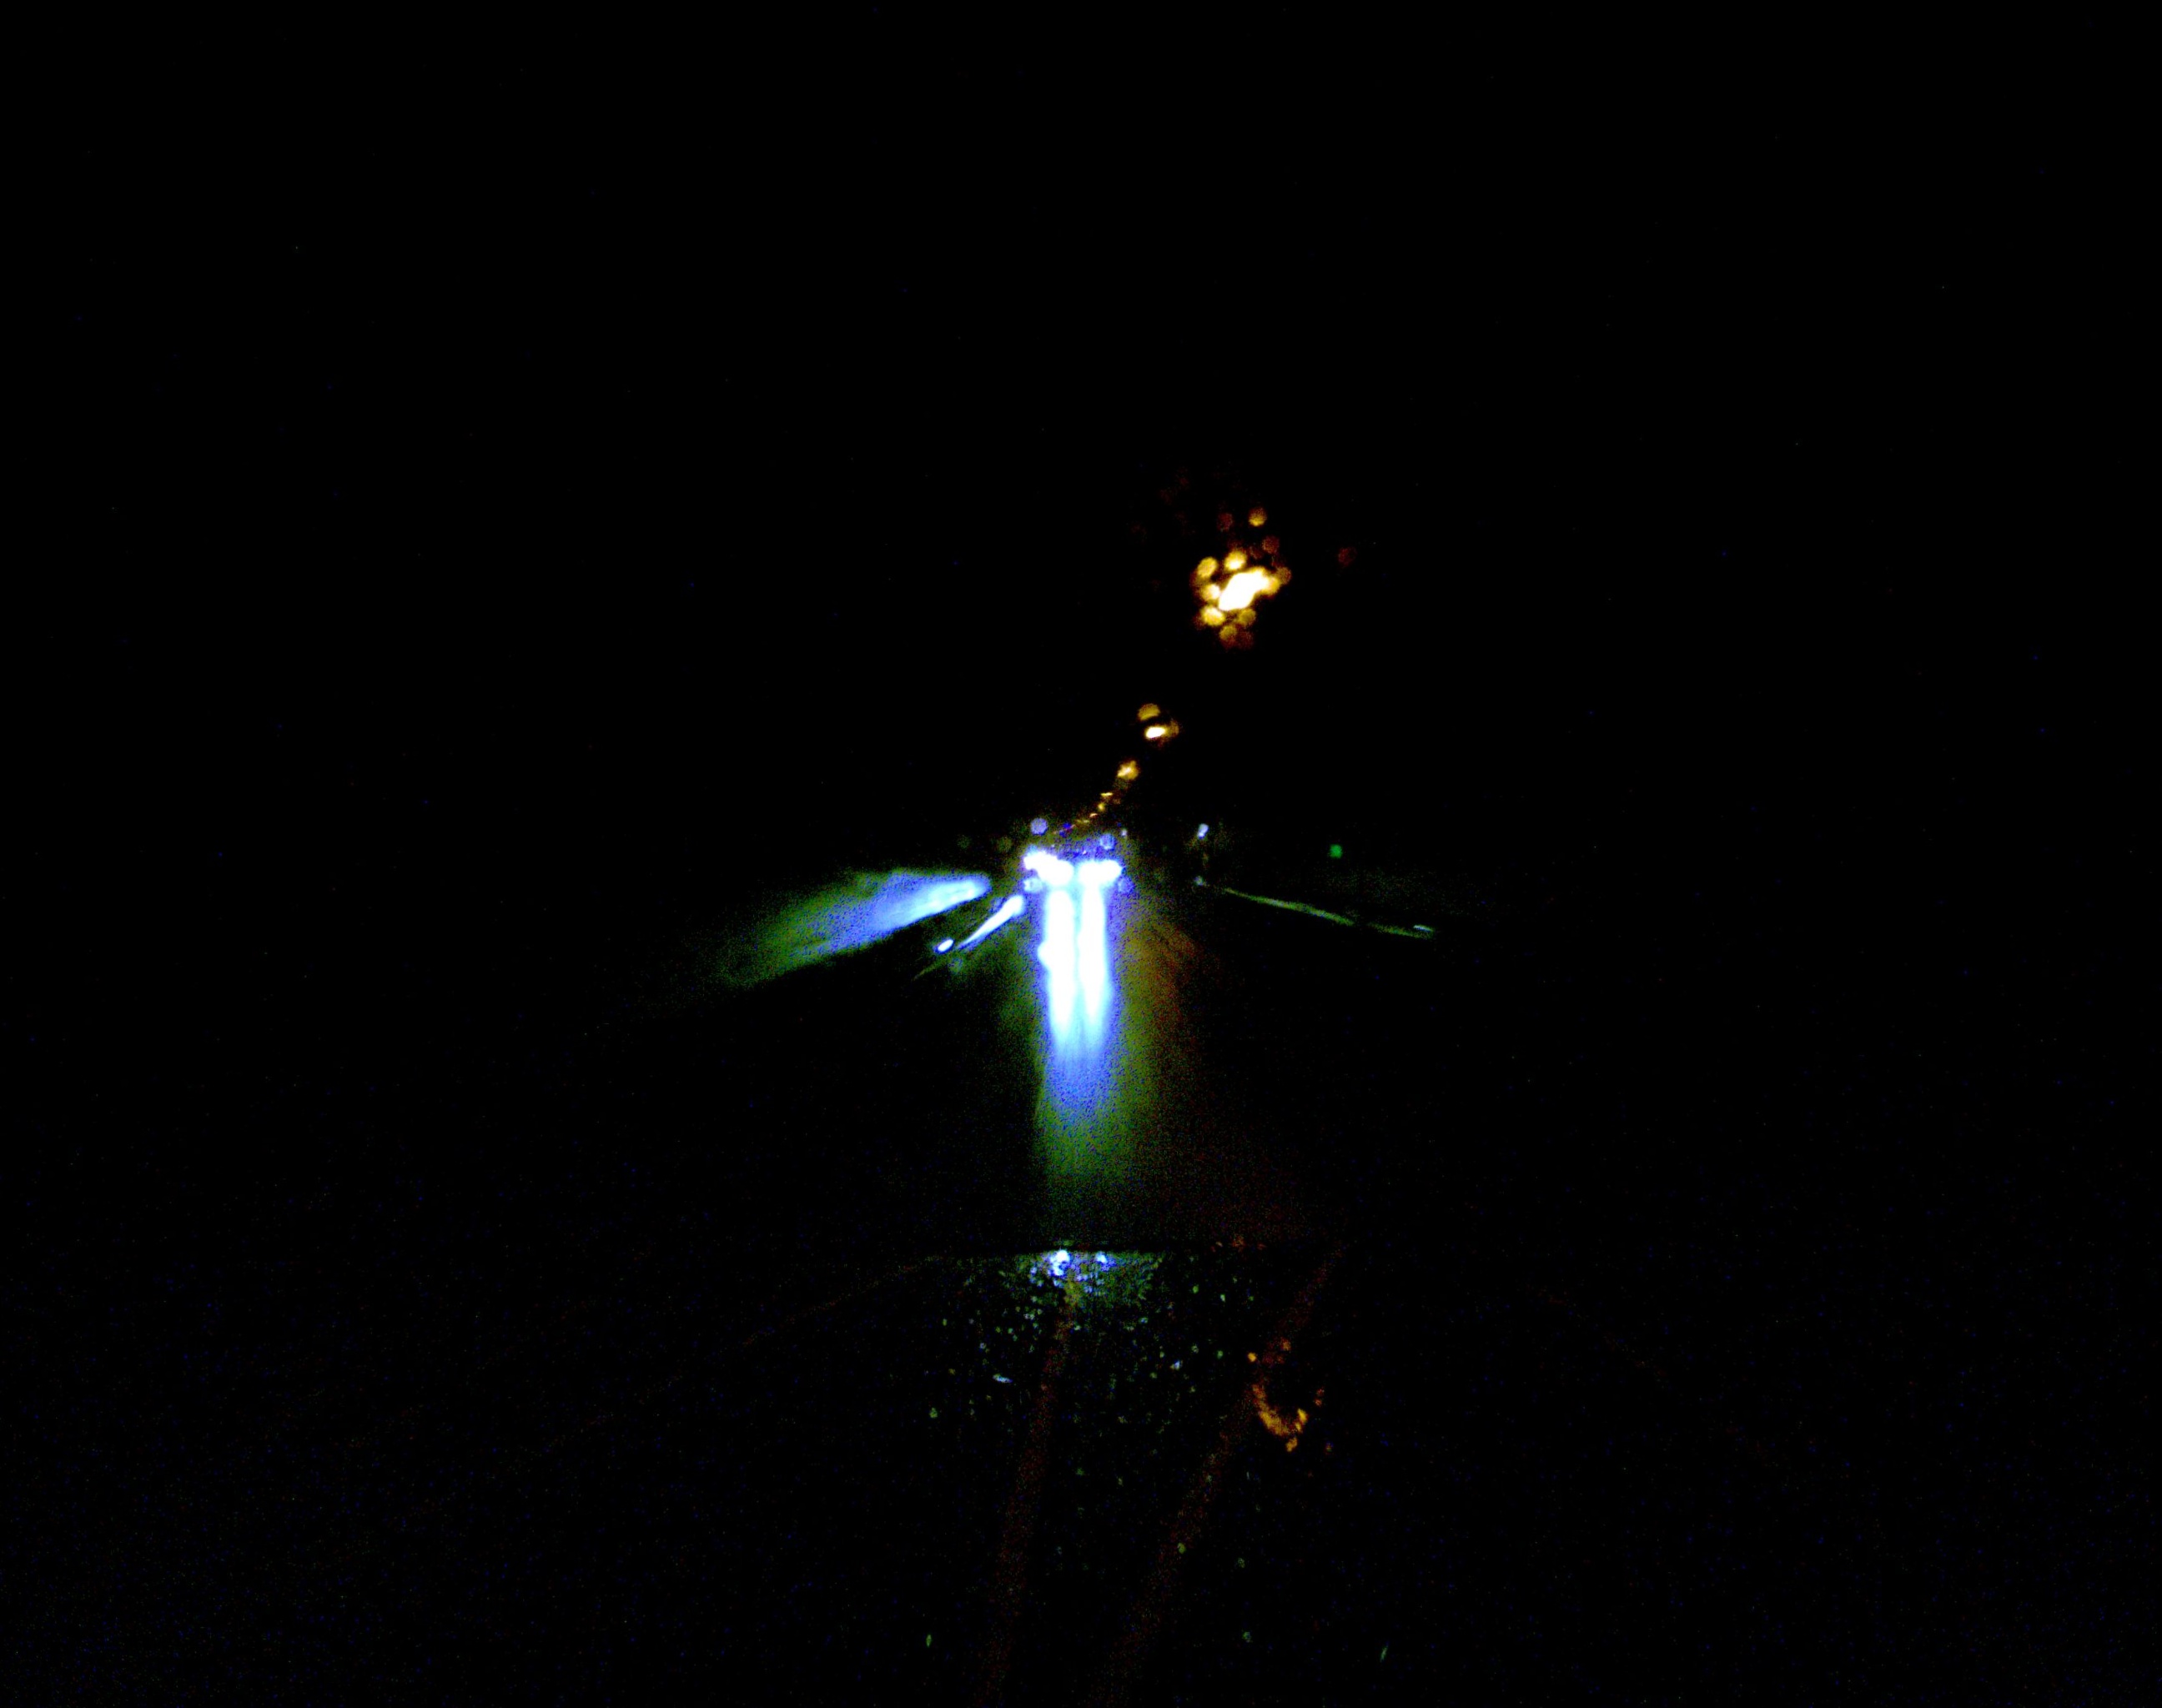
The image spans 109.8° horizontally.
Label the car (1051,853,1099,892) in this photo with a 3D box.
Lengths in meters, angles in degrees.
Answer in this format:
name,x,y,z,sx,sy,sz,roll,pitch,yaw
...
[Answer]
name,x,y,z,sx,sy,sz,roll,pitch,yaw
car,-0.286,0.806,35.322,1.999,1.547,3.998,-3,1,-1
